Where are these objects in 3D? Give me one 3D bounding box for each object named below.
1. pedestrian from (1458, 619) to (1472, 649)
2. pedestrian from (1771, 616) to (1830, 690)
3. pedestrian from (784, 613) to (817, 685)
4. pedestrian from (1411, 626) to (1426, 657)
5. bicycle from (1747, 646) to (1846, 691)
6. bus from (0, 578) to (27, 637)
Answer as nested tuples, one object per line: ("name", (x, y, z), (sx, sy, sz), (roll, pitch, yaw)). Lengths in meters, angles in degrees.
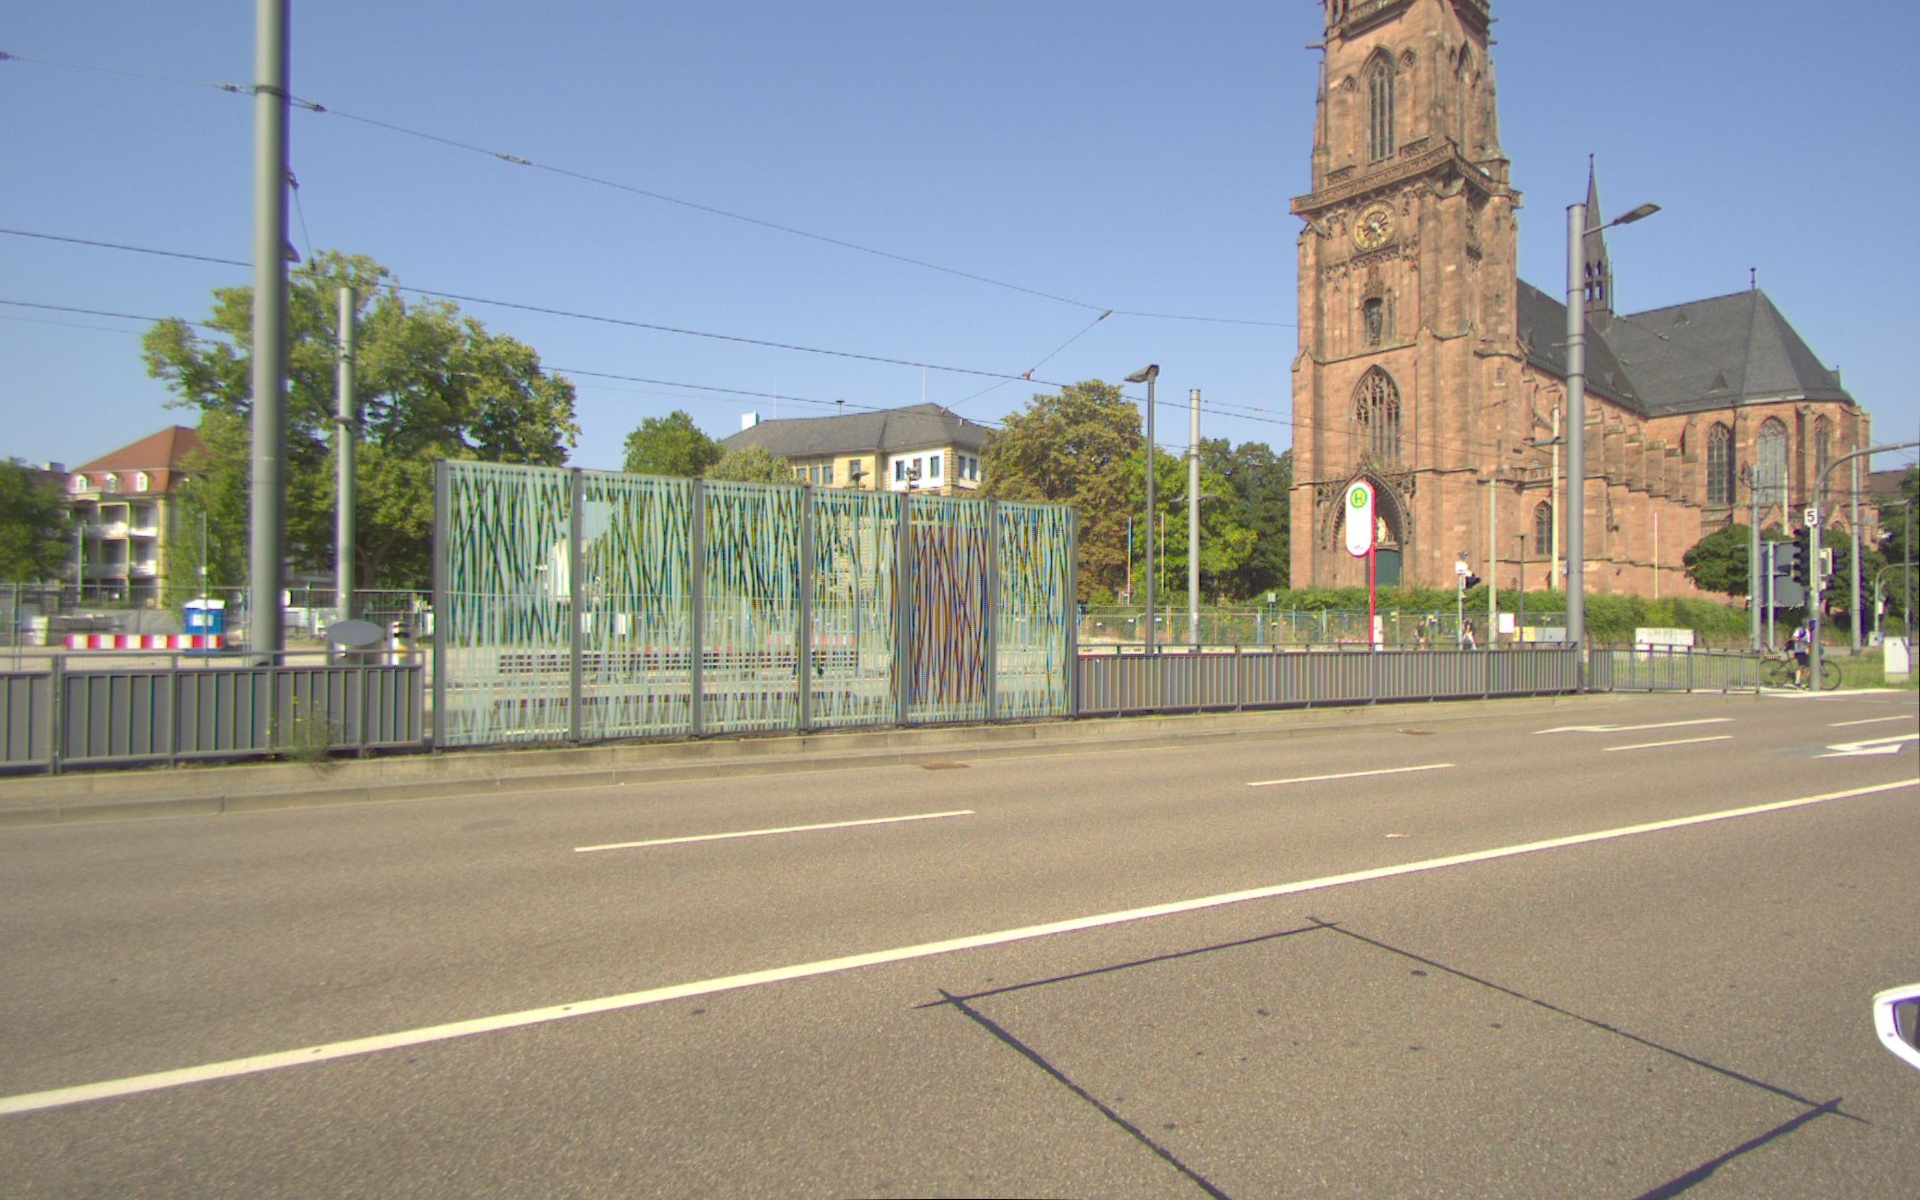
("pedestrian", (26.859, 1.821, 53.409), (0.534, 1.596, 0.659), (-1, -2, 42))
("pedestrian", (19.898, 1.239, 23.791), (0.595, 1.701, 0.912), (1, -1, -29))
("pedestrian", (-3.892, 1.190, 24.547), (0.656, 1.723, 0.515), (1, -1, -29))
("pedestrian", (23.782, 2.137, 52.082), (0.546, 1.596, 0.490), (1, -1, -29))
("bicycle", (19.854, 1.607, 23.879), (0.474, 0.991, 1.751), (1, -2, -29))
("bus", (-59.174, 0.298, 54.170), (3.160, 3.464, 13.324), (0, -2, 15))
